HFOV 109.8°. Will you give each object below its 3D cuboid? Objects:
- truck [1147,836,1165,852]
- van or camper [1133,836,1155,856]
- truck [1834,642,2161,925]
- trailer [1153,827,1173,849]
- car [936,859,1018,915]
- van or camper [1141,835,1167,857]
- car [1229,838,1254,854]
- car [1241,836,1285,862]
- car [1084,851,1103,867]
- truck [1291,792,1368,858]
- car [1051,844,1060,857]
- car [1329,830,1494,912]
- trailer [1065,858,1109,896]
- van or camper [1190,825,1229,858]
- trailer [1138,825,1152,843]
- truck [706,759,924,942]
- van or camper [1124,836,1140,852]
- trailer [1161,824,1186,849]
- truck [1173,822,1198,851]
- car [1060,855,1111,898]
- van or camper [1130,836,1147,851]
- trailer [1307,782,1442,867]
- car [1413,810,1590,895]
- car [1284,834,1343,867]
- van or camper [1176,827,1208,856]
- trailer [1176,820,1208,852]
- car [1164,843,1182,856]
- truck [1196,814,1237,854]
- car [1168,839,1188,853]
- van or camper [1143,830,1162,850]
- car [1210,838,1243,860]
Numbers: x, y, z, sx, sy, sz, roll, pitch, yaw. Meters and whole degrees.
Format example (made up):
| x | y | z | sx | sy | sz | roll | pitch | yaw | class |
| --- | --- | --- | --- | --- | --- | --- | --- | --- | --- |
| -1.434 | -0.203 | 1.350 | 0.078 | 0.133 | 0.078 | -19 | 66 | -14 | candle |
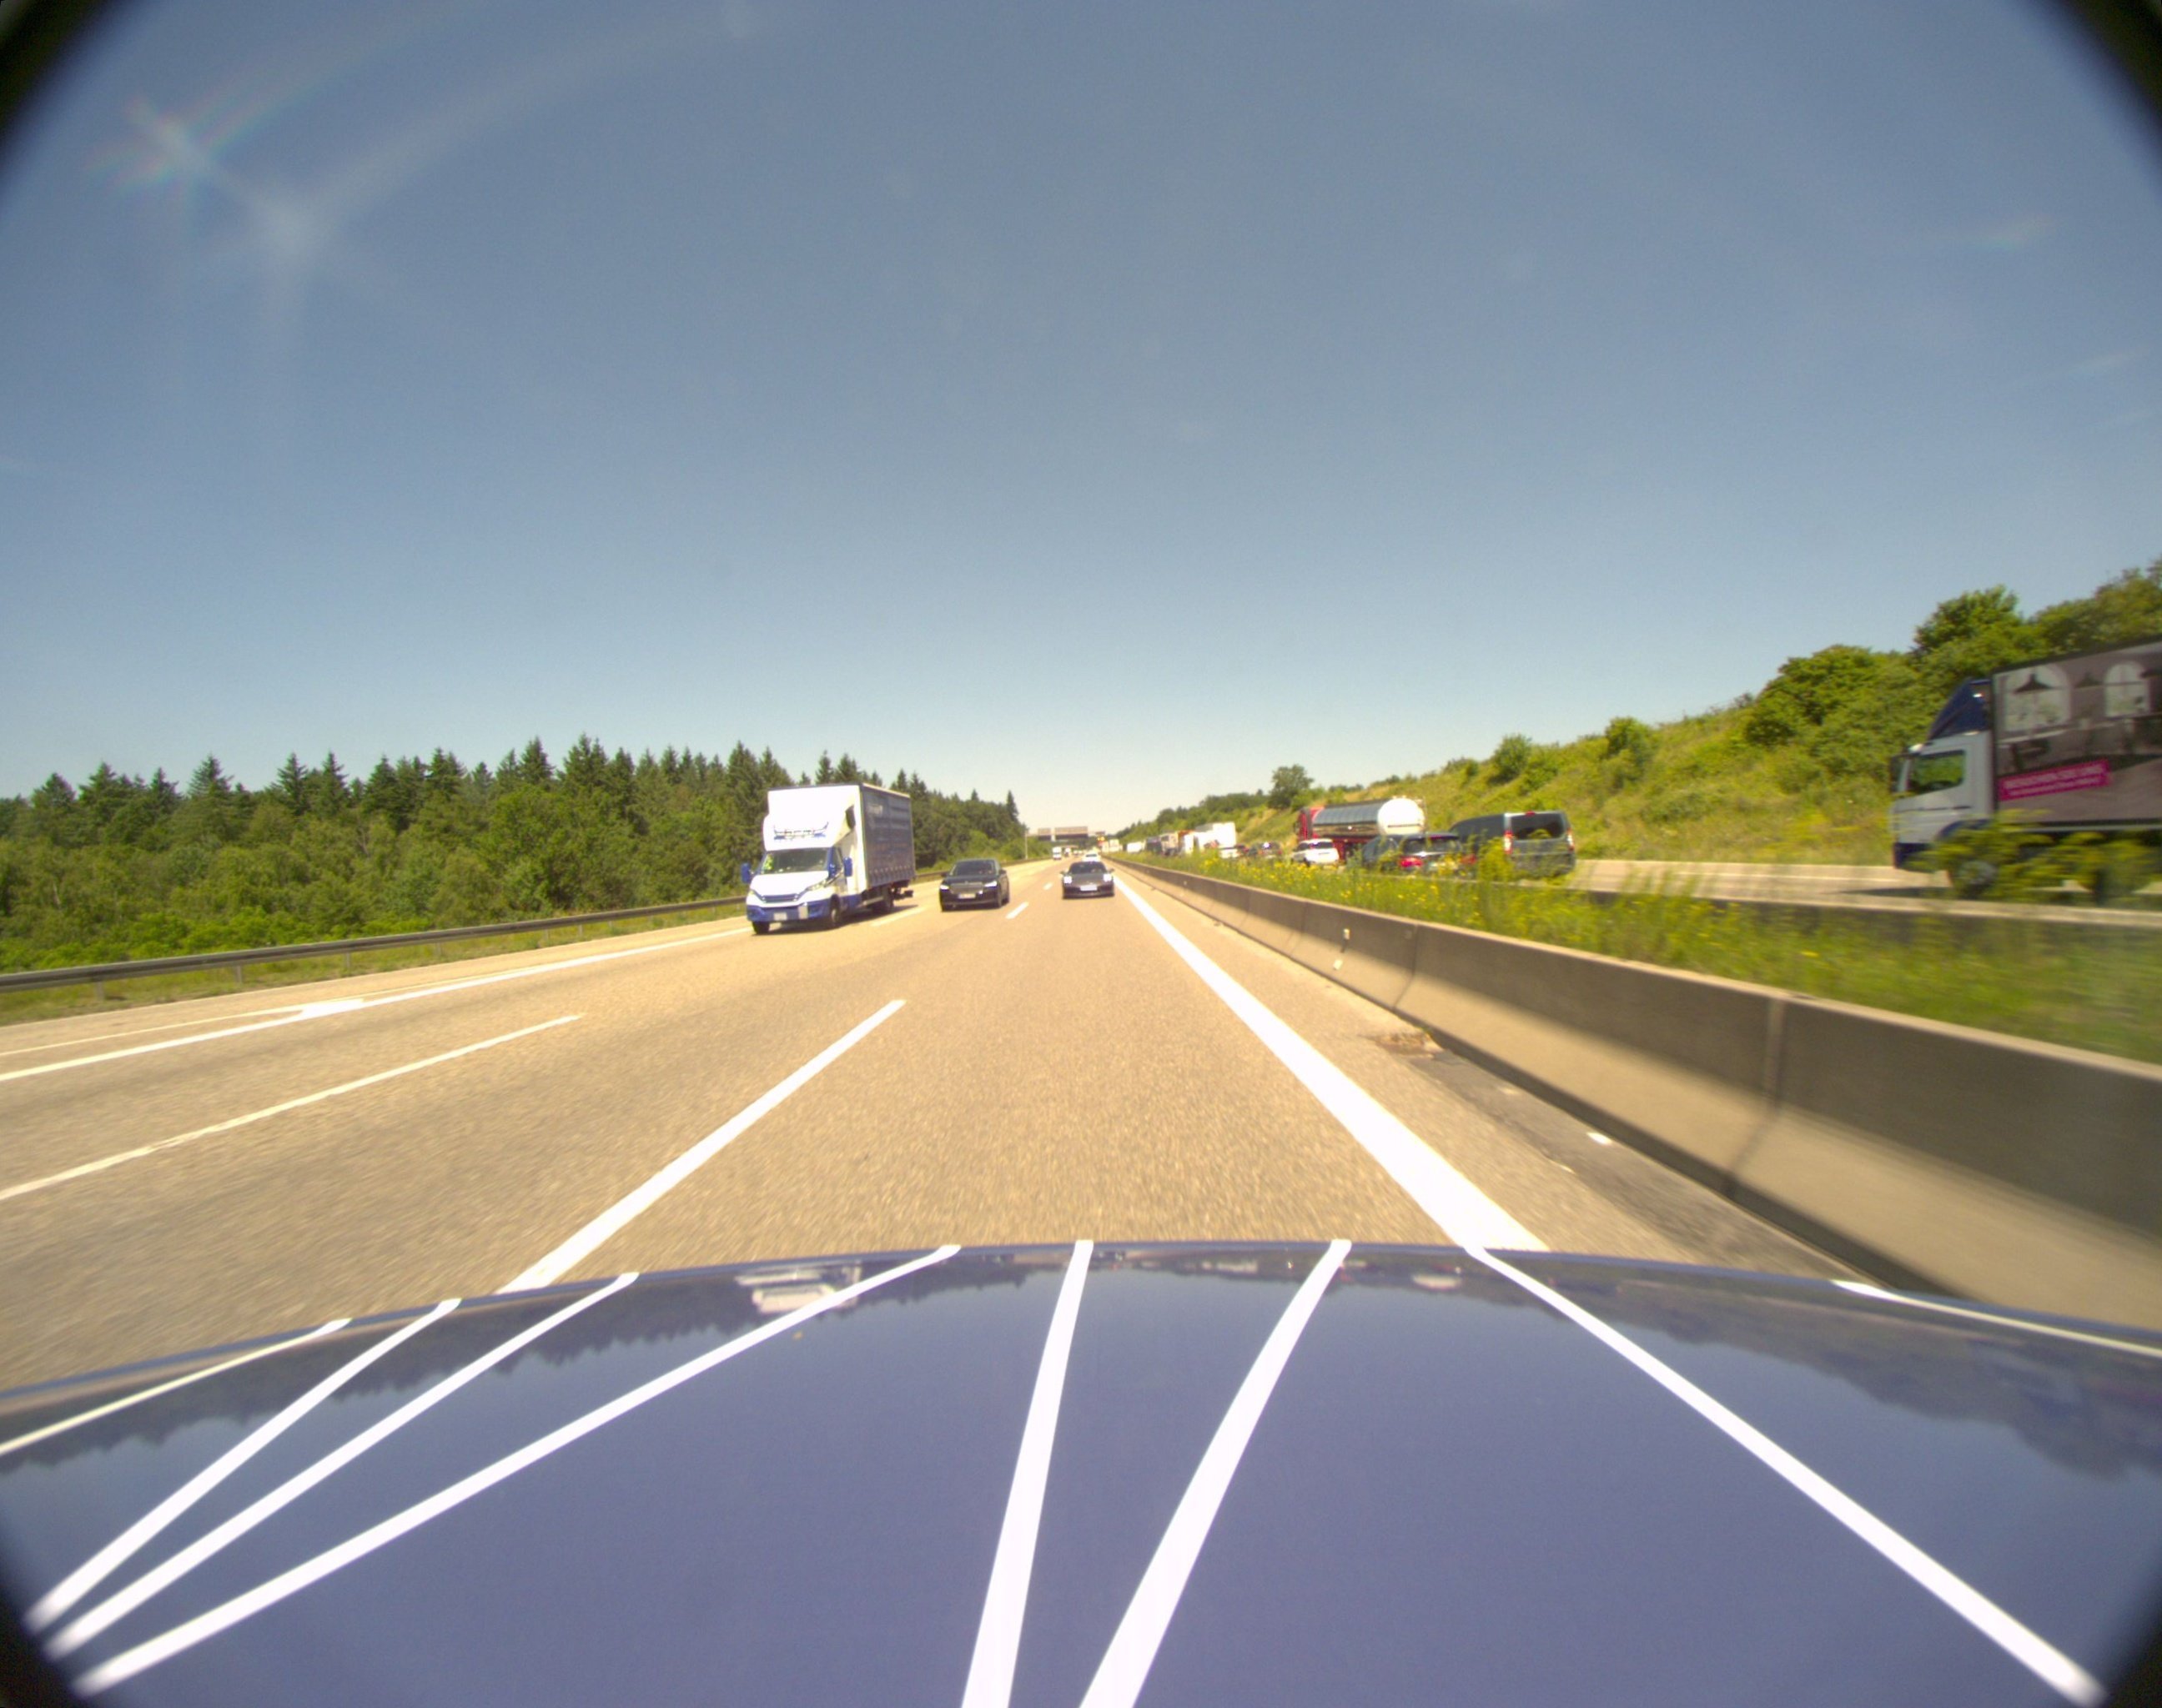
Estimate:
| x | y | z | sx | sy | sz | roll | pitch | yaw | class |
| --- | --- | --- | --- | --- | --- | --- | --- | --- | --- |
| 12.521 | -1.661 | 127.431 | 2.240 | 2.491 | 6.861 | -3 | 1 | 0 | truck |
| 8.299 | -1.101 | 100.623 | 2.198 | 2.492 | 6.057 | -3 | 1 | 0 | van or camper |
| 15.228 | -0.964 | 9.114 | 2.551 | 3.654 | 9.936 | -3 | 1 | 1 | truck |
| 16.926 | -3.262 | 157.819 | 2.796 | 4.216 | 10.790 | -4 | 1 | 1 | trailer |
| -3.329 | 1.028 | 25.260 | 1.989 | 1.609 | 4.458 | -2 | -1 | 1 | car |
| 8.592 | -0.957 | 90.186 | 2.303 | 2.421 | 7.282 | -3 | 1 | 0 | van or camper |
| 16.351 | -0.810 | 77.572 | 1.698 | 1.488 | 3.926 | -3 | 1 | 1 | car |
| 12.040 | -0.349 | 50.576 | 1.758 | 1.575 | 4.784 | -3 | 1 | 1 | car |
| 1.234 | 0.451 | 77.391 | 1.719 | 1.432 | 4.456 | -3 | 1 | -1 | car |
| 15.958 | -1.823 | 49.207 | 2.790 | 3.802 | 6.031 | -4 | 1 | 1 | truck |
| -6.881 | -0.886 | 205.417 | 2.303 | 3.317 | 7.620 | -5 | 1 | -1 | car |
| 7.538 | 0.314 | 17.920 | 1.758 | 1.575 | 4.853 | -3 | 1 | 1 | car |
| 0.252 | 0.934 | 31.453 | 1.689 | 1.399 | 3.047 | -2 | -1 | 1 | trailer |
| 12.506 | -1.245 | 74.580 | 2.551 | 2.920 | 8.130 | -3 | 1 | 2 | van or camper |
| 16.313 | -5.037 | 194.841 | 2.788 | 4.280 | 11.709 | -3 | 1 | 2 | trailer |
| -7.242 | -0.155 | 22.733 | 2.790 | 4.105 | 9.737 | -5 | 1 | 0 | truck |
| 8.837 | -1.684 | 131.361 | 2.198 | 2.526 | 6.415 | -3 | 1 | 0 | van or camper |
| 16.444 | -3.093 | 136.332 | 2.788 | 4.011 | 12.248 | -4 | 1 | 1 | trailer |
| 16.273 | -2.741 | 119.010 | 2.596 | 4.301 | 7.291 | -5 | 1 | 0 | truck |
| 0.196 | 0.831 | 28.184 | 1.718 | 1.431 | 4.459 | -1 | -2 | 1 | car |
| 12.424 | -2.301 | 164.796 | 2.848 | 2.931 | 8.111 | -4 | 1 | 1 | van or camper |
| 15.916 | -1.485 | 42.611 | 2.686 | 3.927 | 12.273 | -3 | 1 | 0 | trailer |
| 11.335 | -0.071 | 21.005 | 2.028 | 1.947 | 5.093 | -3 | 1 | 1 | car |
| 12.057 | -0.196 | 39.664 | 1.758 | 1.541 | 4.188 | -3 | 1 | 1 | car |
| 12.471 | -1.440 | 85.869 | 2.551 | 2.920 | 7.827 | -3 | 1 | 2 | van or camper |
| 16.301 | -2.581 | 112.324 | 2.618 | 4.285 | 11.998 | -4 | 1 | 0 | trailer |
| 12.659 | -0.666 | 105.141 | 1.823 | 1.579 | 4.882 | -3 | 1 | 0 | car |
| 15.985 | -2.301 | 90.583 | 2.527 | 4.301 | 12.420 | -4 | 1 | 1 | truck |
| 12.254 | -1.003 | 96.392 | 1.823 | 1.579 | 4.882 | -3 | 1 | 0 | car |
| 12.465 | -2.418 | 133.221 | 2.318 | 3.371 | 7.678 | -3 | 1 | 0 | van or camper |
| 11.908 | -0.441 | 62.490 | 1.887 | 1.618 | 4.357 | -3 | 1 | 1 | car |
